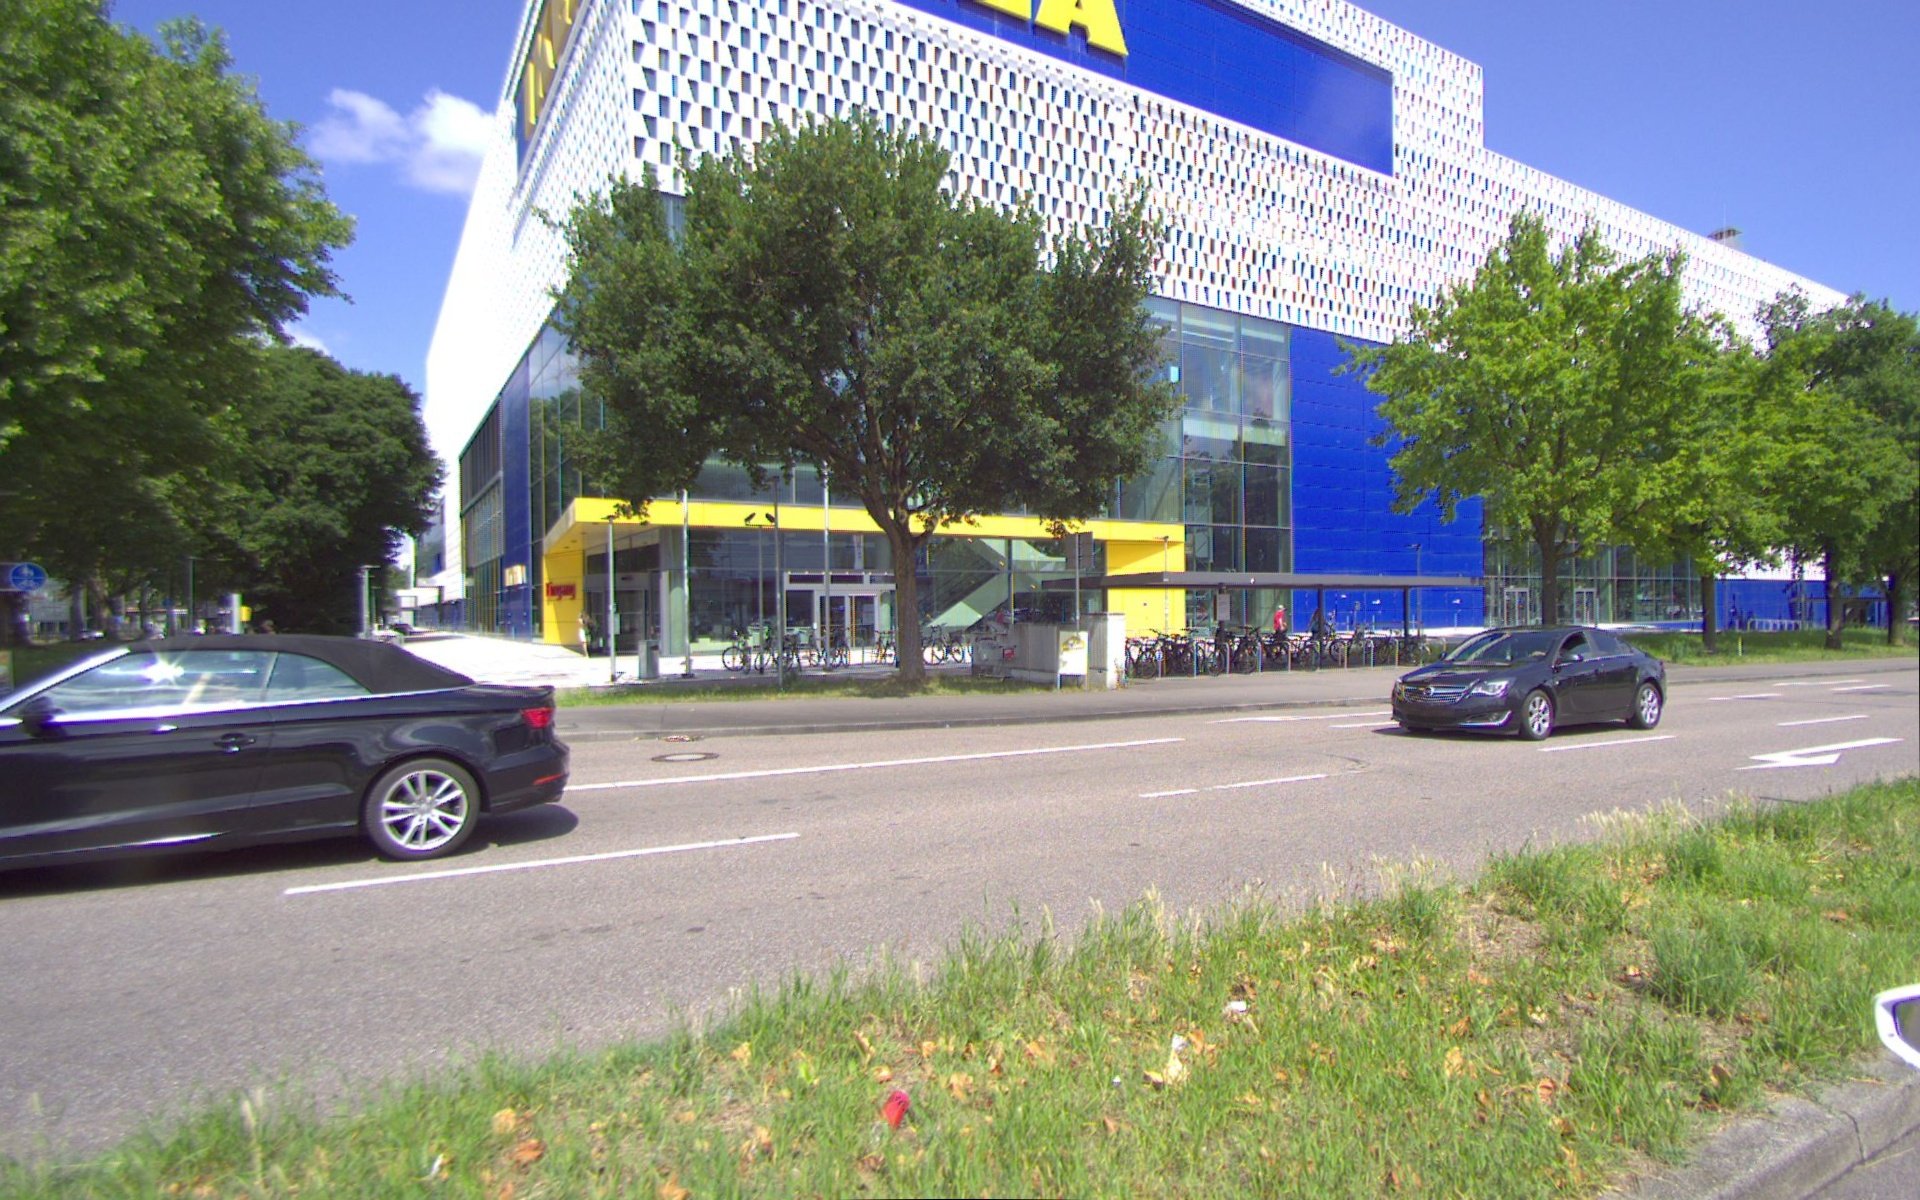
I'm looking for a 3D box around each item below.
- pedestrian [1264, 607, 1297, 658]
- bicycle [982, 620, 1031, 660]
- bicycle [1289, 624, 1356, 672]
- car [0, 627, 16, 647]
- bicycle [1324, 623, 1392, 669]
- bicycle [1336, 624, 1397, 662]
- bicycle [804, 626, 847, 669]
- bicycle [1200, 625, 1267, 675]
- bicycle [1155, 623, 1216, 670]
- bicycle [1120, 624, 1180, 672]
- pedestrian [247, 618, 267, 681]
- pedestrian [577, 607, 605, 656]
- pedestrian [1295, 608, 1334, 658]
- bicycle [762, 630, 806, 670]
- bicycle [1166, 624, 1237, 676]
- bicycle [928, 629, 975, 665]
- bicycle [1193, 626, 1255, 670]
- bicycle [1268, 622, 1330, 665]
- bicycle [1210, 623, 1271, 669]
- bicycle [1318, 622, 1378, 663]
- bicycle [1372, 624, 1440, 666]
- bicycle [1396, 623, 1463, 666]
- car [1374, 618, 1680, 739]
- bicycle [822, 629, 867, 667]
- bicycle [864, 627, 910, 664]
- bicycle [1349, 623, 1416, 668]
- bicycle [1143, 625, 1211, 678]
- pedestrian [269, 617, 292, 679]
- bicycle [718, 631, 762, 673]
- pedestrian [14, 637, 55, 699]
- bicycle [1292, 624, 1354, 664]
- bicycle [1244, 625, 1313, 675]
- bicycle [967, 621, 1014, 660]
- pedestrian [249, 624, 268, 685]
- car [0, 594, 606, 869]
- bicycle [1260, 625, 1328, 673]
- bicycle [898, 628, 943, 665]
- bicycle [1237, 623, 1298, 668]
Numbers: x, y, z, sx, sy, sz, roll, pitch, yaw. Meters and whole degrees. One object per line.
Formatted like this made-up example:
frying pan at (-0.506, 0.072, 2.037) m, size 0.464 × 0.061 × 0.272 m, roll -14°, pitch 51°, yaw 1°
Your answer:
pedestrian at (11.858, 1.191, 37.166) m, size 0.876 × 1.847 × 0.750 m, roll 1°, pitch 0°, yaw -30°
bicycle at (1.514, 1.303, 33.246) m, size 0.591 × 1.260 × 1.933 m, roll 1°, pitch -1°, yaw -33°
bicycle at (10.536, 1.379, 29.250) m, size 0.622 × 1.290 × 1.916 m, roll 0°, pitch 0°, yaw -29°
car at (-78.644, 2.987, 81.675) m, size 1.979 × 1.617 × 3.964 m, roll 1°, pitch -2°, yaw -33°
bicycle at (11.797, 1.351, 29.812) m, size 0.622 × 1.290 × 1.916 m, roll 0°, pitch 0°, yaw -29°
bicycle at (13.579, 1.409, 33.613) m, size 0.622 × 1.199 × 1.916 m, roll 0°, pitch 0°, yaw -29°
bicycle at (-3.960, 1.383, 29.476) m, size 0.463 × 1.188 × 1.944 m, roll 0°, pitch 0°, yaw -33°
bicycle at (7.448, 1.339, 27.435) m, size 0.622 × 1.290 × 1.916 m, roll 0°, pitch 0°, yaw -29°
bicycle at (6.567, 1.345, 29.342) m, size 0.622 × 1.290 × 1.916 m, roll 0°, pitch 0°, yaw -29°
bicycle at (5.412, 1.350, 28.729) m, size 0.622 × 1.290 × 1.916 m, roll 0°, pitch 0°, yaw -29°
pedestrian at (-19.776, 1.384, 28.248) m, size 0.446 × 1.726 × 0.400 m, roll 0°, pitch 0°, yaw -36°
pedestrian at (-13.062, 1.103, 35.550) m, size 0.703 × 1.729 × 0.890 m, roll 1°, pitch -1°, yaw -35°
pedestrian at (12.567, 1.156, 35.588) m, size 0.876 × 1.725 × 0.946 m, roll 1°, pitch 0°, yaw -30°
bicycle at (-5.081, 1.434, 28.902) m, size 0.523 × 1.084 × 1.922 m, roll 1°, pitch -1°, yaw -33°
bicycle at (6.461, 1.319, 26.992) m, size 0.622 × 1.290 × 2.079 m, roll 0°, pitch 0°, yaw -29°
bicycle at (-0.292, 1.480, 32.129) m, size 0.523 × 1.084 × 1.922 m, roll 1°, pitch -1°, yaw -33°
bicycle at (7.803, 1.407, 29.775) m, size 0.622 × 1.199 × 1.916 m, roll 0°, pitch 0°, yaw -29°
bicycle at (10.697, 1.351, 31.763) m, size 0.622 × 1.290 × 1.916 m, roll 0°, pitch 0°, yaw -29°
bicycle at (8.537, 1.379, 30.629) m, size 0.622 × 1.290 × 1.916 m, roll 0°, pitch 0°, yaw -29°
bicycle at (12.732, 1.374, 33.019) m, size 0.622 × 1.290 × 1.916 m, roll 0°, pitch 0°, yaw -29°
bicycle at (13.799, 1.380, 31.127) m, size 0.622 × 1.199 × 1.916 m, roll 0°, pitch 0°, yaw -29°
bicycle at (14.769, 1.376, 31.649) m, size 0.622 × 1.290 × 1.916 m, roll 0°, pitch 0°, yaw -29°
car at (7.871, 1.019, 13.846) m, size 4.466 × 1.439 × 1.656 m, roll 1°, pitch -3°, yaw -31°
bicycle at (-3.450, 1.405, 29.846) m, size 0.523 × 1.084 × 1.922 m, roll 1°, pitch -1°, yaw -33°
bicycle at (-2.258, 1.382, 30.833) m, size 0.523 × 1.084 × 1.922 m, roll 1°, pitch -1°, yaw -33°
bicycle at (12.821, 1.362, 30.542) m, size 0.622 × 1.290 × 1.916 m, roll 0°, pitch 0°, yaw -29°
bicycle at (5.669, 1.334, 26.332) m, size 0.622 × 1.290 × 1.916 m, roll 0°, pitch 0°, yaw -29°
pedestrian at (-19.330, 1.354, 28.582) m, size 0.511 × 1.726 × 0.406 m, roll 0°, pitch 0°, yaw -36°
bicycle at (-6.184, 1.438, 28.155) m, size 0.523 × 1.084 × 1.922 m, roll 1°, pitch -1°, yaw -33°
pedestrian at (-20.310, 1.486, 22.058) m, size 0.532 × 1.341 × 0.488 m, roll 1°, pitch -1°, yaw -29°
bicycle at (11.673, 1.403, 32.357) m, size 0.622 × 1.195 × 1.916 m, roll 0°, pitch 0°, yaw -29°
bicycle at (8.838, 1.370, 27.926) m, size 0.622 × 1.290 × 1.916 m, roll 0°, pitch 0°, yaw -29°
bicycle at (0.997, 1.298, 32.937) m, size 0.523 × 1.225 × 1.922 m, roll 1°, pitch -1°, yaw -33°
pedestrian at (-20.153, 1.550, 28.844) m, size 0.406 × 1.726 × 0.522 m, roll 0°, pitch 0°, yaw -38°
car at (-4.448, 0.732, 6.270) m, size 4.047 × 1.409 × 1.405 m, roll 1°, pitch -3°, yaw -30°
bicycle at (9.528, 1.383, 28.729) m, size 0.622 × 1.290 × 1.916 m, roll 0°, pitch 0°, yaw -29°
bicycle at (-1.245, 1.440, 31.546) m, size 0.515 × 1.104 × 1.918 m, roll 0°, pitch 0°, yaw -33°
bicycle at (9.463, 1.386, 31.013) m, size 0.622 × 1.290 × 1.916 m, roll 0°, pitch 0°, yaw -29°
